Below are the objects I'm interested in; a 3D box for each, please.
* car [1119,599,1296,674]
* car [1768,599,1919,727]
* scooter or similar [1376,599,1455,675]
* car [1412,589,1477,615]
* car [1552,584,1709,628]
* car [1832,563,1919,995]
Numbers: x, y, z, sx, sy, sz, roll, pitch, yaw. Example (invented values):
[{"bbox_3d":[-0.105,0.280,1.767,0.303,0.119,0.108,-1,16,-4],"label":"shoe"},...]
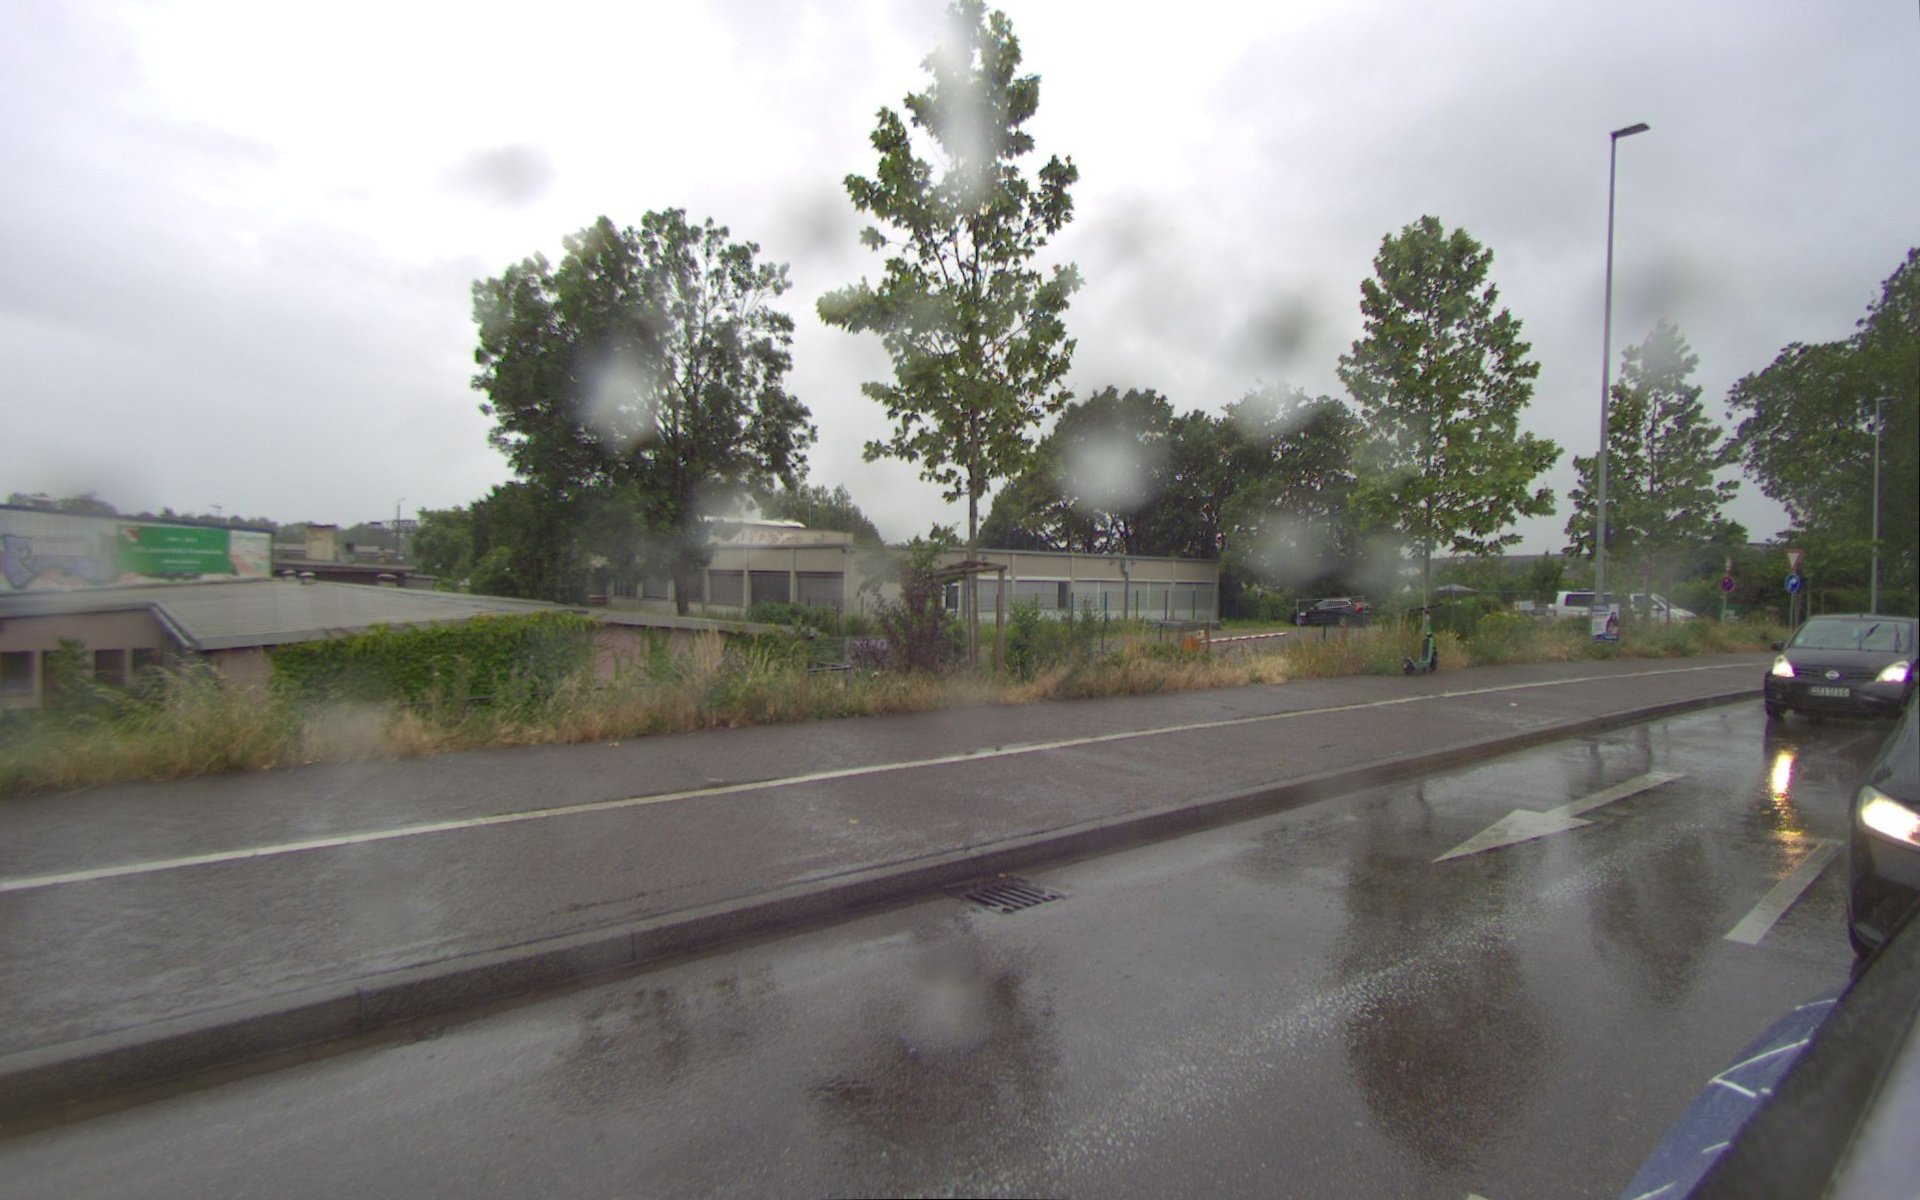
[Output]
[{"bbox_3d":[4.690,0.649,19.490,1.319,1.304,3.246,0,0,-35],"label":"car"},{"bbox_3d":[12.491,0.772,13.877,3.553,1.528,1.556,0,0,-40],"label":"car"},{"bbox_3d":[7.671,0.590,17.006,1.877,1.214,0.367,0,0,-38],"label":"scooter or similar"},{"bbox_3d":[30.939,0.145,64.681,1.319,1.604,3.555,0,0,-35],"label":"car"},{"bbox_3d":[28.101,0.247,42.560,1.972,1.747,5.168,0,0,-42],"label":"car"},{"bbox_3d":[5.575,0.691,4.466,4.090,1.601,1.759,1,0,-36],"label":"car"}]
